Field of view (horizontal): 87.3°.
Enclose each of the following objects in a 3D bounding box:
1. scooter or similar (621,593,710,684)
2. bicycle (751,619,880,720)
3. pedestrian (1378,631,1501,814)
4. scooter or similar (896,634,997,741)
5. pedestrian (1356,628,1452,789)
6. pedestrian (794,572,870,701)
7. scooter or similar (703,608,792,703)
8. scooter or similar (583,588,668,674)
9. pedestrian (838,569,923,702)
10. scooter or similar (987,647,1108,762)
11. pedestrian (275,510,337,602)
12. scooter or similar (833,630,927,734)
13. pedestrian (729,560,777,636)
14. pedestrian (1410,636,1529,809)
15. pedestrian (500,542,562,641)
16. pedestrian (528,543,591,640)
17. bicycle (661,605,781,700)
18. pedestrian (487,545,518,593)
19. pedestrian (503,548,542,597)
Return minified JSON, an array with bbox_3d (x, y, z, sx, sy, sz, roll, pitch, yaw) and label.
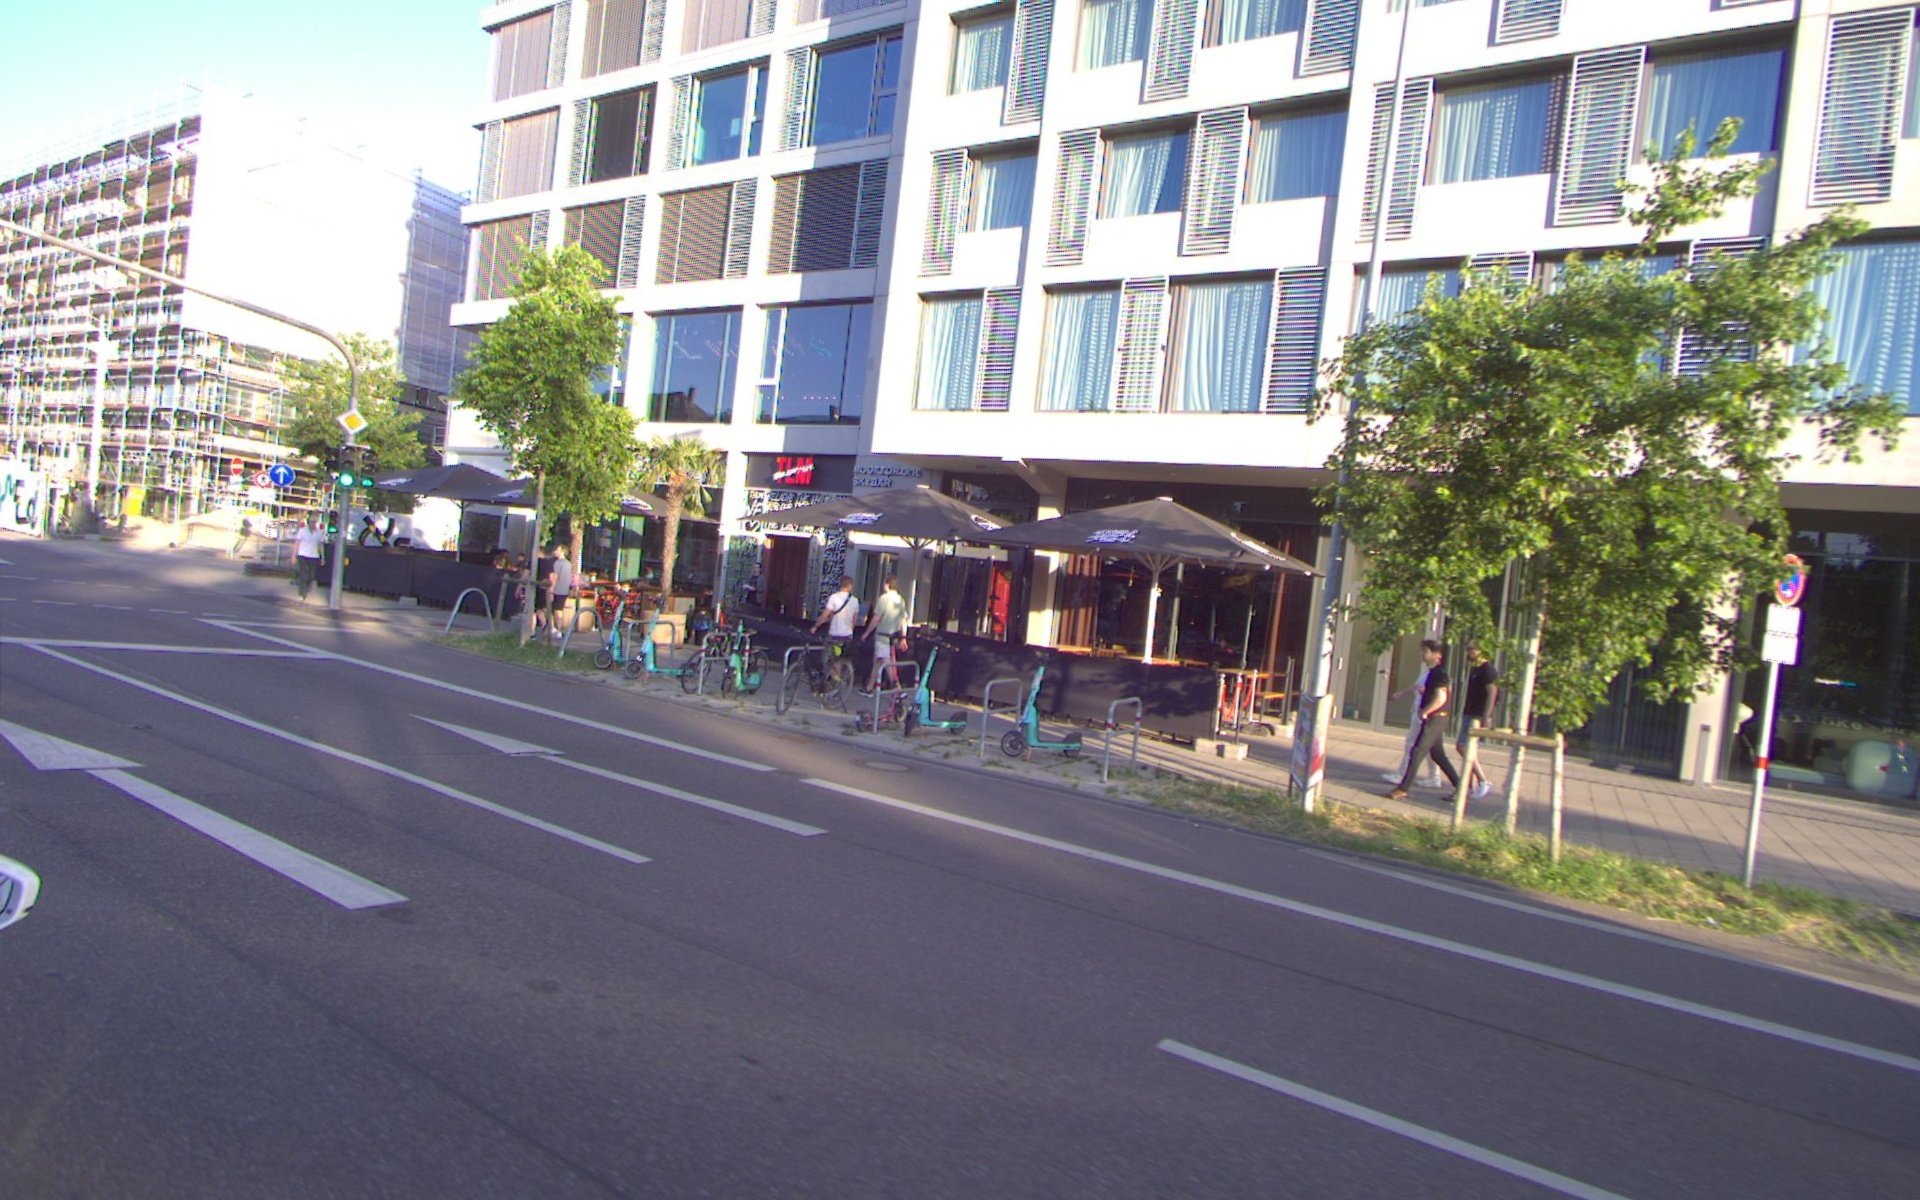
[{"bbox_3d":[-4.342,0.569,14.871,0.542,1.240,1.059,8,3,40],"label":"scooter or similar"},{"bbox_3d":[-1.882,0.889,13.380,0.598,1.198,1.847,7,3,30],"label":"bicycle"},{"bbox_3d":[5.406,1.334,11.348,0.927,1.874,0.742,7,4,40],"label":"pedestrian"},{"bbox_3d":[-0.162,1.076,12.531,1.123,1.229,0.525,3,2,-44],"label":"scooter or similar"},{"bbox_3d":[5.441,1.299,12.331,0.766,1.837,0.617,7,4,40],"label":"pedestrian"},{"bbox_3d":[-1.898,0.534,14.942,0.815,1.810,0.576,6,2,30],"label":"pedestrian"},{"bbox_3d":[-2.948,0.758,14.057,0.471,1.218,1.211,7,3,26],"label":"scooter or similar"},{"bbox_3d":[-5.202,0.475,15.686,0.588,1.240,1.053,7,3,27],"label":"scooter or similar"},{"bbox_3d":[-1.217,0.533,15.463,0.852,1.913,0.825,6,2,30],"label":"pedestrian"},{"bbox_3d":[1.037,1.214,11.794,1.283,1.235,0.530,3,3,-36],"label":"scooter or similar"},{"bbox_3d":[-14.089,-0.943,21.670,0.667,1.872,0.769,7,2,31],"label":"pedestrian"},{"bbox_3d":[-0.988,1.005,12.647,0.501,1.207,1.156,5,2,32],"label":"scooter or similar"},{"bbox_3d":[-4.883,-0.037,23.774,0.567,1.726,0.855,7,2,22],"label":"pedestrian"},{"bbox_3d":[5.974,1.395,11.800,0.927,1.849,0.755,7,3,40],"label":"pedestrian"},{"bbox_3d":[-7.856,-0.145,18.419,0.677,1.725,0.654,7,3,30],"label":"pedestrian"},{"bbox_3d":[-7.635,-0.159,19.190,0.748,1.758,0.685,7,4,30],"label":"pedestrian"},{"bbox_3d":[-3.372,0.719,14.362,0.558,1.209,1.795,7,2,26],"label":"bicycle"},{"bbox_3d":[-13.411,-0.907,29.463,0.609,1.337,0.613,2,5,-41],"label":"pedestrian"},{"bbox_3d":[-12.621,-0.798,29.026,0.705,1.337,0.743,8,5,43],"label":"pedestrian"}]
